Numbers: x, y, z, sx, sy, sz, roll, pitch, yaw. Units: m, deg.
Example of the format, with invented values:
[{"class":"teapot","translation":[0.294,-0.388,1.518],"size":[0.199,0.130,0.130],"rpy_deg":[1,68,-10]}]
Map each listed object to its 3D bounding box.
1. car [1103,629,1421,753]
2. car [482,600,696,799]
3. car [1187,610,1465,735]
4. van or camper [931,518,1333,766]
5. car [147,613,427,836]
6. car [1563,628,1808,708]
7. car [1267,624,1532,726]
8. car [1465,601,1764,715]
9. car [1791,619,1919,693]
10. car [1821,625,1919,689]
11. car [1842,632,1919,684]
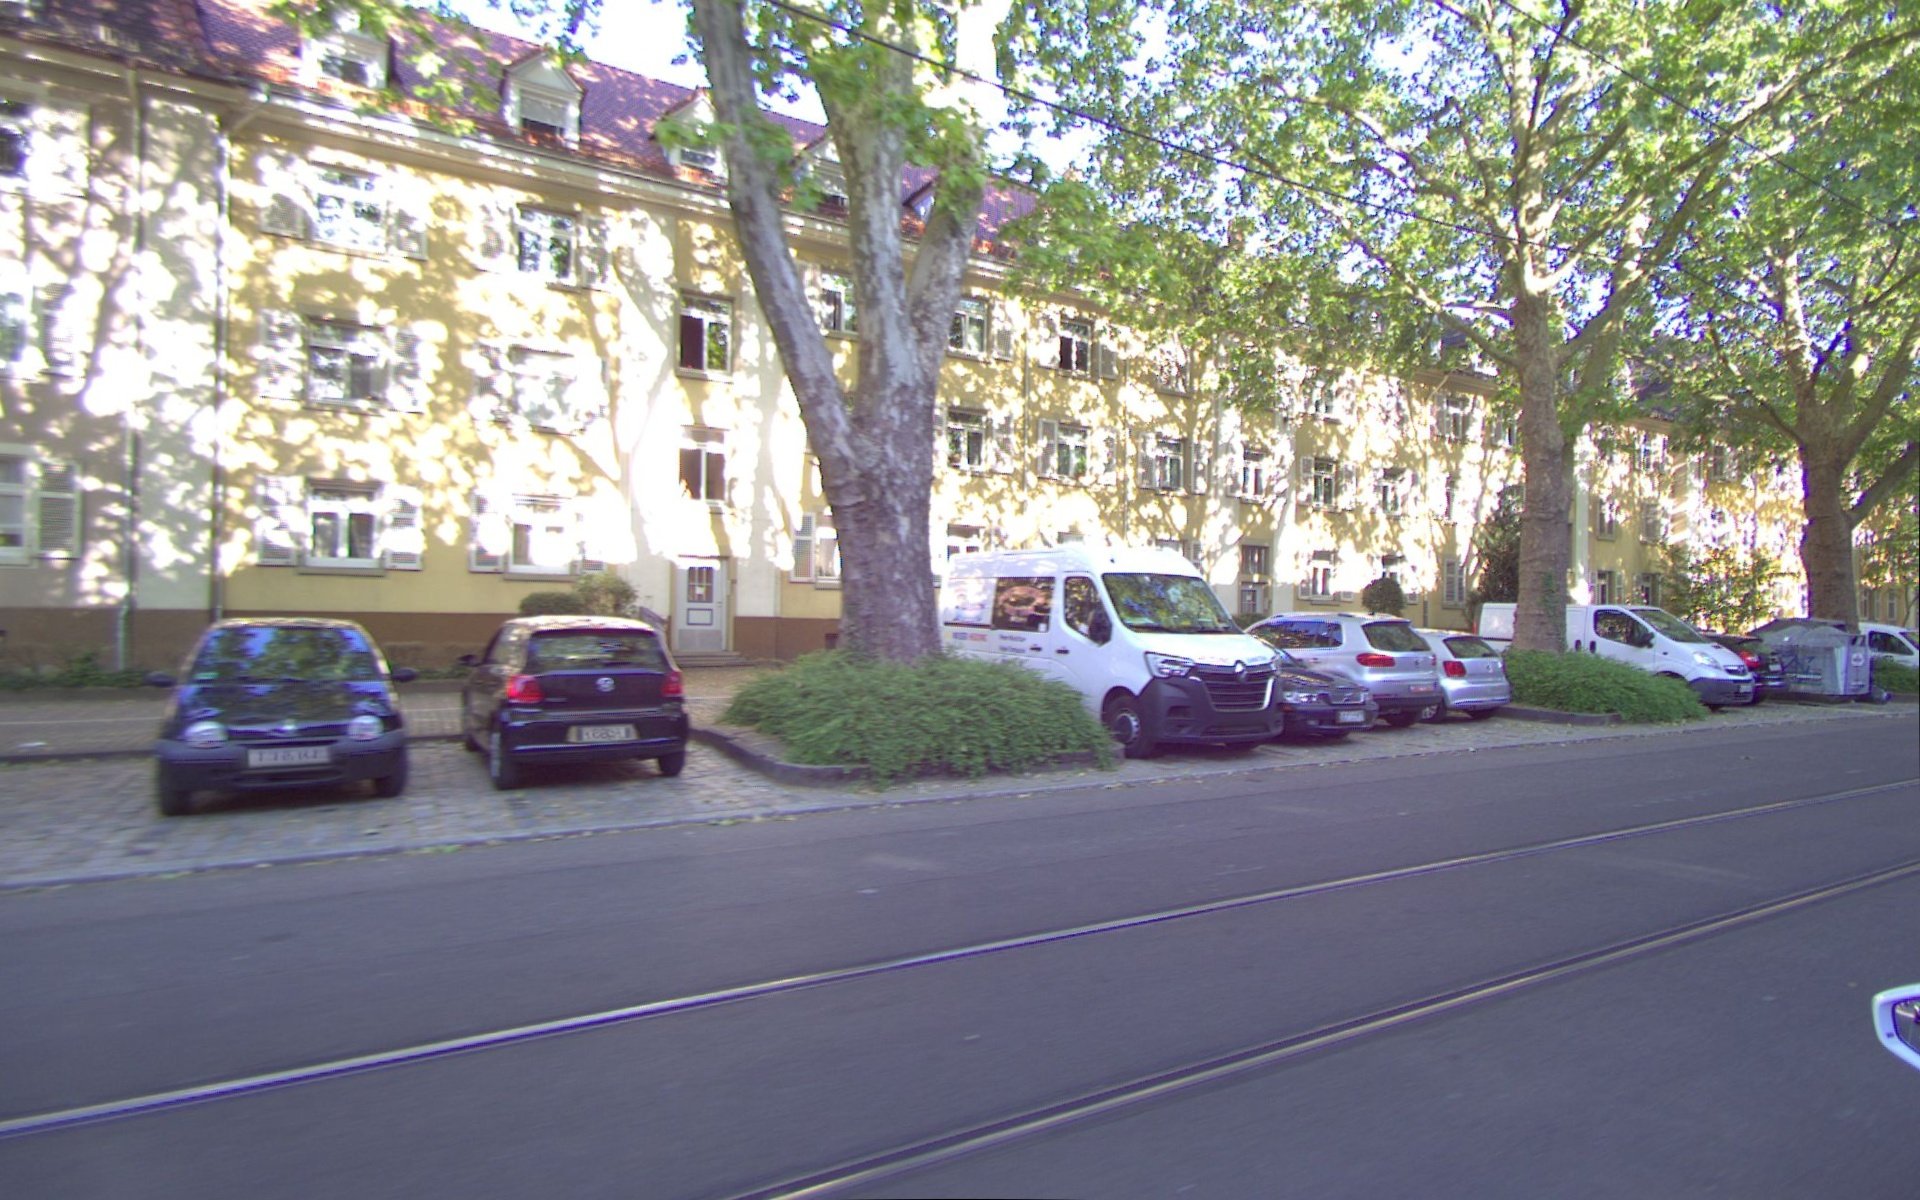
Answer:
[{"class":"car","translation":[3.965,1.129,13.932],"size":[1.732,1.417,4.246],"rpy_deg":[1,-2,-29]},{"class":"car","translation":[-3.846,0.814,10.042],"size":[1.592,1.586,3.669],"rpy_deg":[1,-1,-27]},{"class":"car","translation":[5.516,1.029,15.602],"size":[1.840,1.685,3.831],"rpy_deg":[1,-2,-29]},{"class":"van or camper","translation":[1.919,0.458,13.247],"size":[2.415,2.549,5.366],"rpy_deg":[1,-1,-29]},{"class":"car","translation":[-5.871,0.884,8.781],"size":[1.680,1.479,3.505],"rpy_deg":[1,-1,-36]},{"class":"car","translation":[15.269,1.362,21.360],"size":[1.840,1.517,3.831],"rpy_deg":[1,-2,-29]},{"class":"car","translation":[7.328,1.185,17.124],"size":[1.840,1.517,3.831],"rpy_deg":[1,-2,-29]},{"class":"car","translation":[12.829,1.038,20.017],"size":[1.940,1.971,4.631],"rpy_deg":[1,-1,-32]},{"class":"car","translation":[24.357,1.432,25.916],"size":[1.718,1.781,4.181],"rpy_deg":[1,-1,-28]},{"class":"car","translation":[26.248,1.524,27.091],"size":[1.905,1.710,4.226],"rpy_deg":[1,-2,-22]},{"class":"car","translation":[29.281,1.740,30.148],"size":[1.840,1.517,3.831],"rpy_deg":[1,-2,-29]}]
